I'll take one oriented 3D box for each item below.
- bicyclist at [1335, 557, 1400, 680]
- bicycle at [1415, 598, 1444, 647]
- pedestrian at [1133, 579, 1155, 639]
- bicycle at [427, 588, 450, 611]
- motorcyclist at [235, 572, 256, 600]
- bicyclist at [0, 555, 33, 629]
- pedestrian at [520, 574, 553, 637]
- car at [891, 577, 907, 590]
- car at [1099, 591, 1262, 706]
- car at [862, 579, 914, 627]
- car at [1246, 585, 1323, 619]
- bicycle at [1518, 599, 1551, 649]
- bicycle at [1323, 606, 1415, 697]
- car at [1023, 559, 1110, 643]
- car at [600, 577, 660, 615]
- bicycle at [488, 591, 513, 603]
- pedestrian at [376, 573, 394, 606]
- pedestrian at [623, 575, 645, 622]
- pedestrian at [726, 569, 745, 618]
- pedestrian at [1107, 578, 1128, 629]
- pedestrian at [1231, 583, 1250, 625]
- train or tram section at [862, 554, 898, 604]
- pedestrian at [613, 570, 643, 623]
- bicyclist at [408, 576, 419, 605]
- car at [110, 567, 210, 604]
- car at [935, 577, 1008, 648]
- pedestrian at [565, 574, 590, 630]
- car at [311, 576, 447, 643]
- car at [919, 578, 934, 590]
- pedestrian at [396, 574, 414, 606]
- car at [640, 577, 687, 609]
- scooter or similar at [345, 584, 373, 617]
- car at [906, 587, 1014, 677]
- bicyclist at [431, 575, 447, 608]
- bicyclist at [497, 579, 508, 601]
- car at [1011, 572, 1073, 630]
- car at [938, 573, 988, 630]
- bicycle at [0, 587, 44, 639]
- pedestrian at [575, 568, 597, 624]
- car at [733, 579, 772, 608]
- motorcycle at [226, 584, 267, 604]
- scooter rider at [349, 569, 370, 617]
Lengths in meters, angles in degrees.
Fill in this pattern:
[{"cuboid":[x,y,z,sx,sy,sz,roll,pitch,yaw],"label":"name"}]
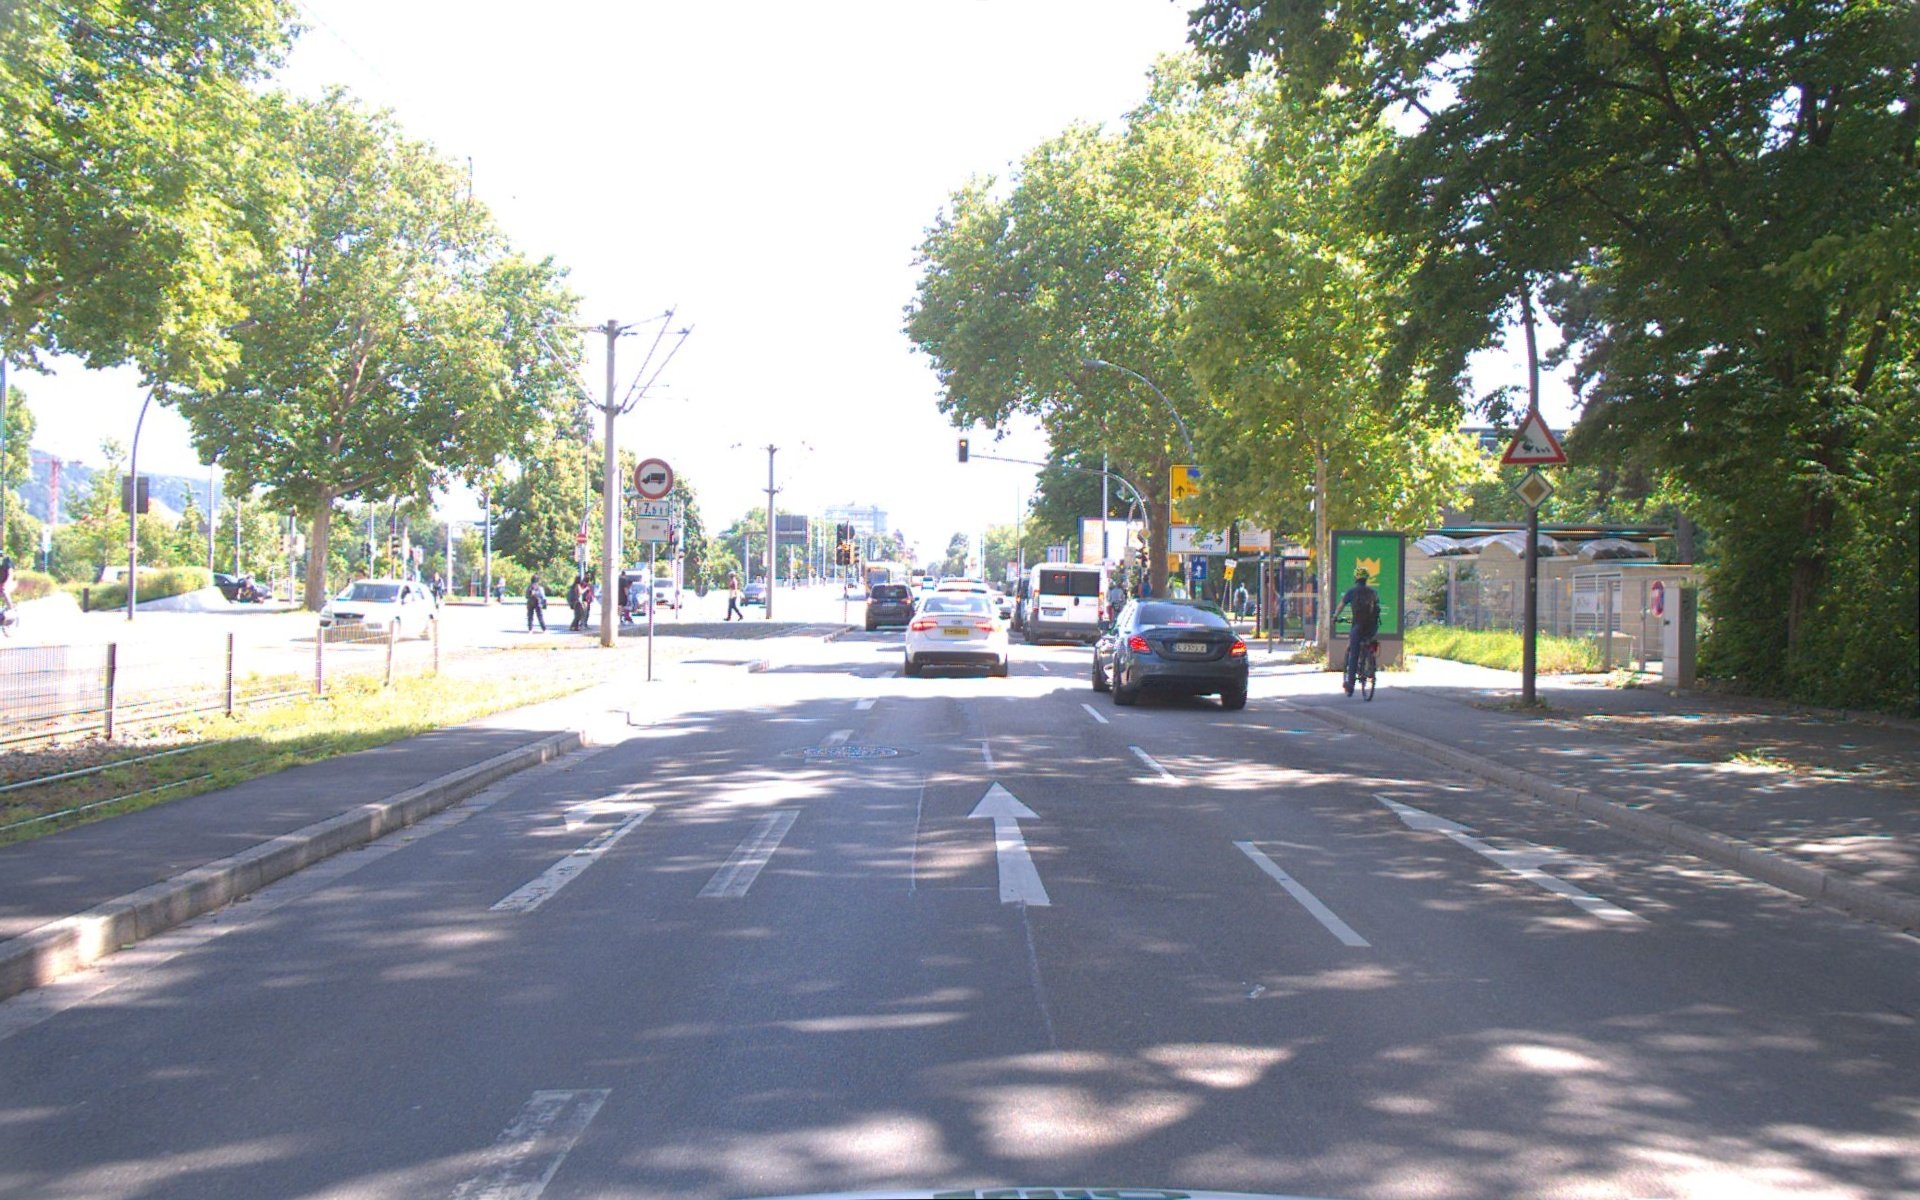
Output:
[{"cuboid":[5.741,0.247,23.317,0.621,1.677,0.979,-1,0,-1],"label":"bicyclist"},{"cuboid":[11.745,0.557,41.411,0.381,1.201,1.173,1,0,0],"label":"bicycle"},{"cuboid":[6.168,0.307,55.504,0.622,1.980,0.719,1,0,0],"label":"pedestrian"},{"cuboid":[-23.054,-0.032,73.184,0.474,0.978,1.655,1,0,0],"label":"bicycle"},{"cuboid":[-34.015,-0.675,78.763,0.737,1.337,0.604,1,0,0],"label":"motorcyclist"},{"cuboid":[-21.300,-0.176,37.033,0.563,1.632,0.838,1,0,0],"label":"bicyclist"},{"cuboid":[-11.287,0.142,44.081,0.748,1.651,0.590,1,0,-26],"label":"pedestrian"},{"cuboid":[-8.438,-2.279,227.858,1.832,1.637,4.001,1,0,2],"label":"car"},{"cuboid":[3.016,0.614,23.372,1.746,1.445,4.000,1,0,0],"label":"car"},{"cuboid":[-2.563,0.092,59.688,1.694,1.659,4.000,1,0,0],"label":"car"},{"cuboid":[17.130,0.083,87.365,3.699,1.701,1.793,1,0,1],"label":"car"},{"cuboid":[14.132,0.591,40.713,0.381,1.201,1.173,1,0,0],"label":"bicycle"},{"cuboid":[5.753,0.698,23.384,0.700,1.168,2.178,-2,1,-1],"label":"bicycle"},{"cuboid":[2.986,0.012,47.274,2.184,2.250,4.162,1,0,0],"label":"car"},{"cuboid":[-14.773,-0.198,74.275,1.832,1.637,4.000,1,0,0],"label":"car"},{"cuboid":[-28.300,-0.186,101.874,0.482,0.744,1.619,1,0,28],"label":"bicycle"},{"cuboid":[-28.425,-0.518,81.767,0.610,1.569,0.644,1,0,-1],"label":"pedestrian"},{"cuboid":[-11.298,-0.058,57.340,0.526,1.626,0.578,1,0,19],"label":"pedestrian"},{"cuboid":[-9.031,-0.256,66.579,0.611,1.951,0.690,1,0,0],"label":"pedestrian"},{"cuboid":[5.421,0.125,56.928,0.590,1.724,0.953,-1,0,0],"label":"pedestrian"},{"cuboid":[12.185,0.166,71.899,0.761,1.819,0.764,1,0,7],"label":"pedestrian"},{"cuboid":[-6.769,-1.774,140.259,2.563,4.085,7.749,1,0,0],"label":"train or tram section"},{"cuboid":[-11.376,-0.124,56.636,0.758,1.764,0.755,1,0,8],"label":"pedestrian"},{"cuboid":[-25.631,-0.431,77.522,0.378,1.334,0.465,1,0,-6],"label":"bicyclist"},{"cuboid":[-37.292,-0.673,77.150,3.768,1.576,1.769,1,0,0],"label":"car"},{"cuboid":[0.279,0.289,41.036,1.694,1.633,3.885,1,0,0],"label":"car"},{"cuboid":[-11.501,0.050,49.704,0.580,1.675,0.554,1,0,0],"label":"pedestrian"},{"cuboid":[-14.253,0.204,40.810,1.760,1.514,4.385,1,0,0],"label":"car"},{"cuboid":[-4.651,-2.204,227.863,1.832,1.637,4.001,1,0,2],"label":"car"},{"cuboid":[-27.462,-0.508,81.835,0.610,1.569,0.782,1,0,-1],"label":"pedestrian"},{"cuboid":[-15.736,-0.362,87.954,1.727,1.637,3.860,1,0,0],"label":"car"},{"cuboid":[-21.324,0.003,58.699,0.536,1.132,1.248,1,0,0],"label":"scooter or similar"},{"cuboid":[-0.006,0.509,29.206,1.748,1.445,3.885,1,0,0],"label":"car"},{"cuboid":[-23.059,-0.382,73.226,0.470,1.441,0.592,1,0,-1],"label":"bicyclist"},{"cuboid":[-28.216,-0.609,101.999,0.464,1.314,0.496,1,0,29],"label":"bicyclist"},{"cuboid":[2.978,0.019,60.779,2.029,2.034,4.058,1,0,0],"label":"car"},{"cuboid":[0.107,0.043,59.775,1.694,1.935,4.000,1,0,0],"label":"car"},{"cuboid":[-21.319,0.280,36.913,0.653,1.113,1.884,1,0,0],"label":"bicycle"},{"cuboid":[-11.443,-0.122,50.664,0.482,1.708,0.643,1,0,0],"label":"pedestrian"},{"cuboid":[-13.276,-0.406,106.195,1.953,1.764,4.000,1,0,0],"label":"car"},{"cuboid":[-33.975,-0.297,78.763,1.610,0.906,0.650,1,0,0],"label":"motorcycle"},{"cuboid":[-21.310,-0.247,58.709,0.496,1.660,0.566,1,0,0],"label":"scooter rider"}]
